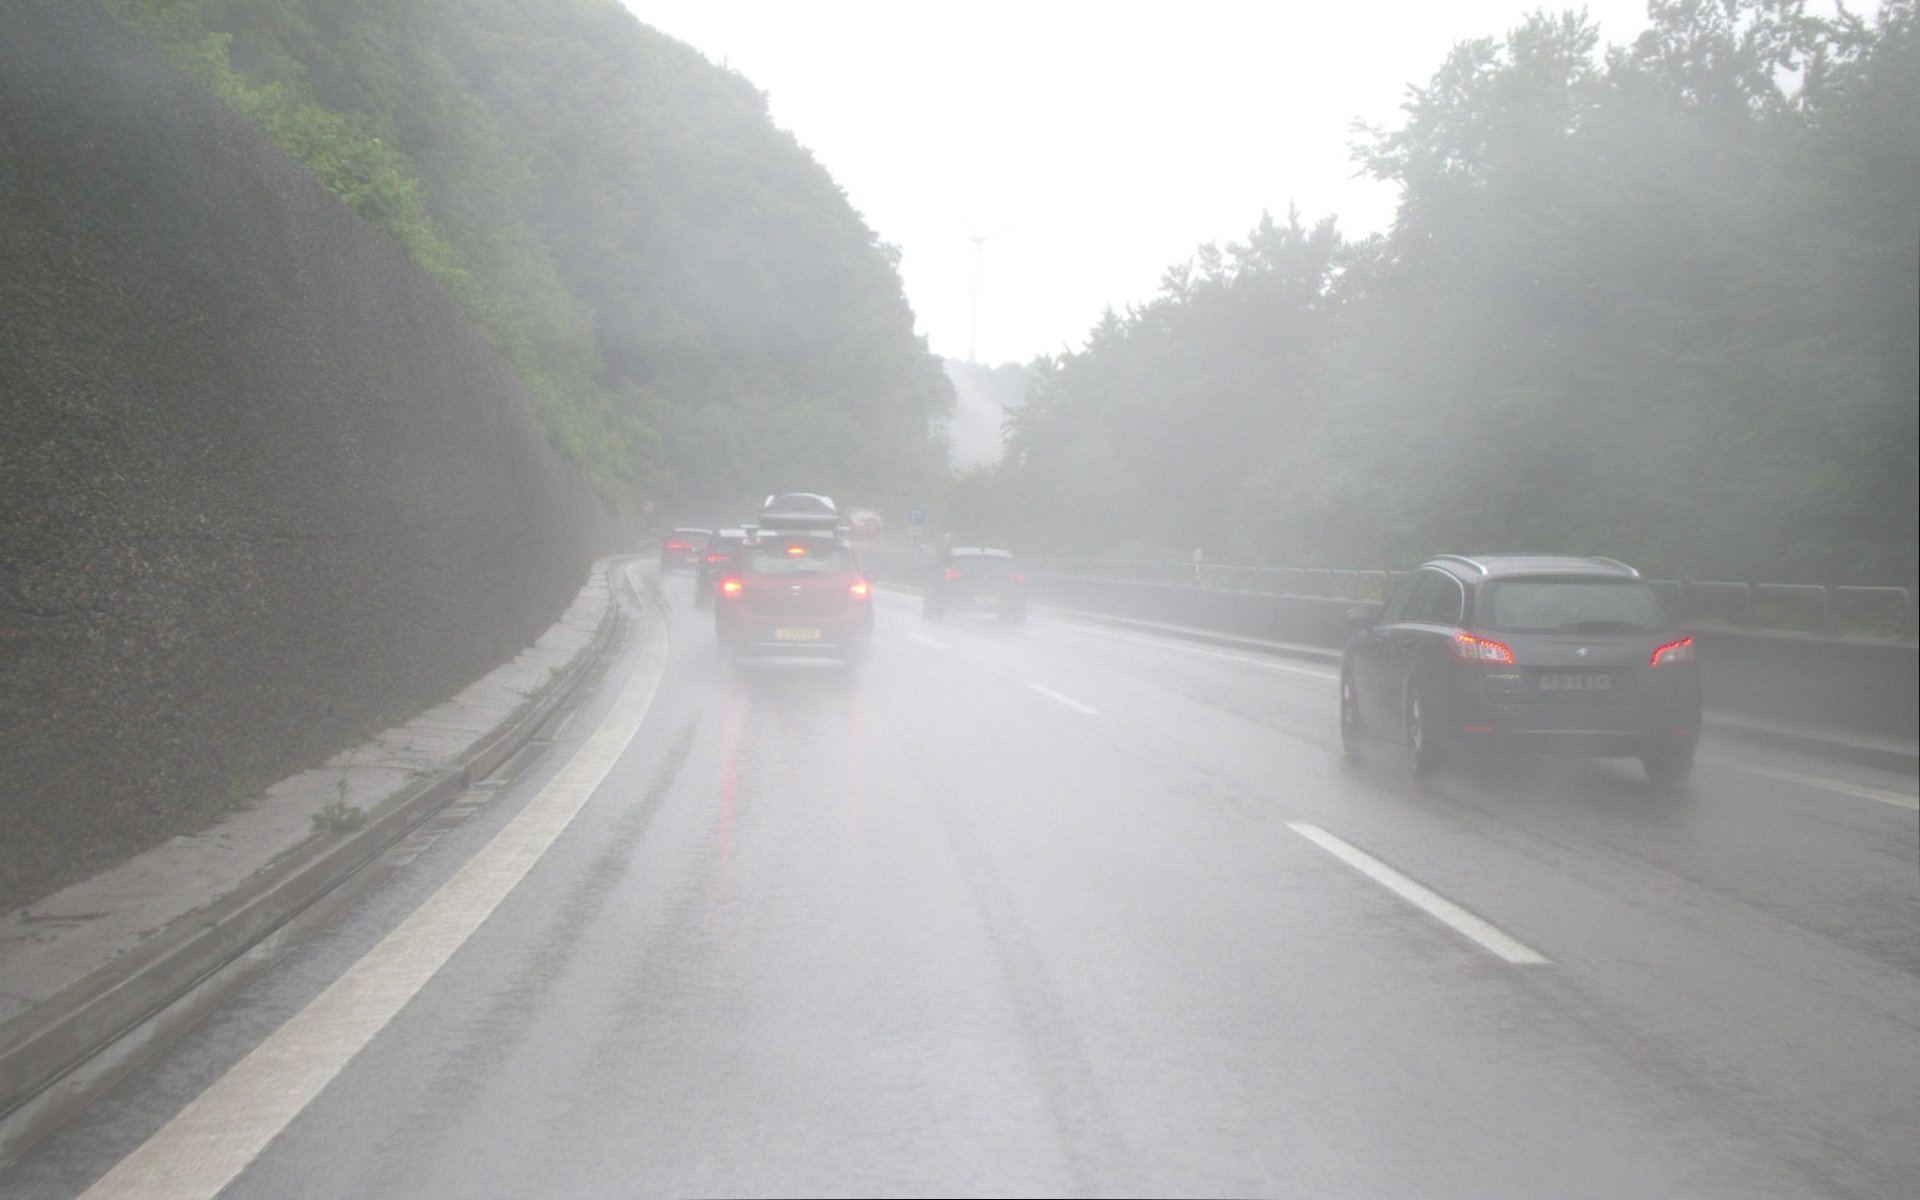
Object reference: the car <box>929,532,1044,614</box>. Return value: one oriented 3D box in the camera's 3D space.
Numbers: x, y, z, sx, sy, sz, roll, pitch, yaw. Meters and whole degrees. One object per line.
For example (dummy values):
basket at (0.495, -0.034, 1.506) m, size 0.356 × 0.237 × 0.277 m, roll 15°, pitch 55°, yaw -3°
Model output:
car at (0.491, -0.560, 68.302) m, size 1.993 × 1.546 × 4.001 m, roll 1°, pitch 1°, yaw -3°

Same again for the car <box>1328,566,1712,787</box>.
car at (3.618, 0.449, 22.910) m, size 1.800 × 1.303 × 4.000 m, roll 1°, pitch 1°, yaw -1°

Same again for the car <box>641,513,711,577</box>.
car at (-9.470, -1.812, 114.517) m, size 1.993 × 2.007 × 4.001 m, roll 1°, pitch 0°, yaw -9°

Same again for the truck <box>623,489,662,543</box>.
truck at (-16.730, -4.401, 181.064) m, size 1.993 × 2.741 × 5.588 m, roll 0°, pitch 1°, yaw -6°

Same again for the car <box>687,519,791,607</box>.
car at (-4.446, -0.713, 69.224) m, size 1.993 × 1.678 × 4.000 m, roll 1°, pitch 0°, yaw -3°

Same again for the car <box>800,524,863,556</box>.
car at (-8.280, -3.858, 221.325) m, size 2.448 × 2.007 × 4.737 m, roll 0°, pitch 1°, yaw -24°

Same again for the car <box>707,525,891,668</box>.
car at (-1.876, -0.049, 39.448) m, size 1.993 × 1.547 × 4.000 m, roll 0°, pitch 0°, yaw -3°
